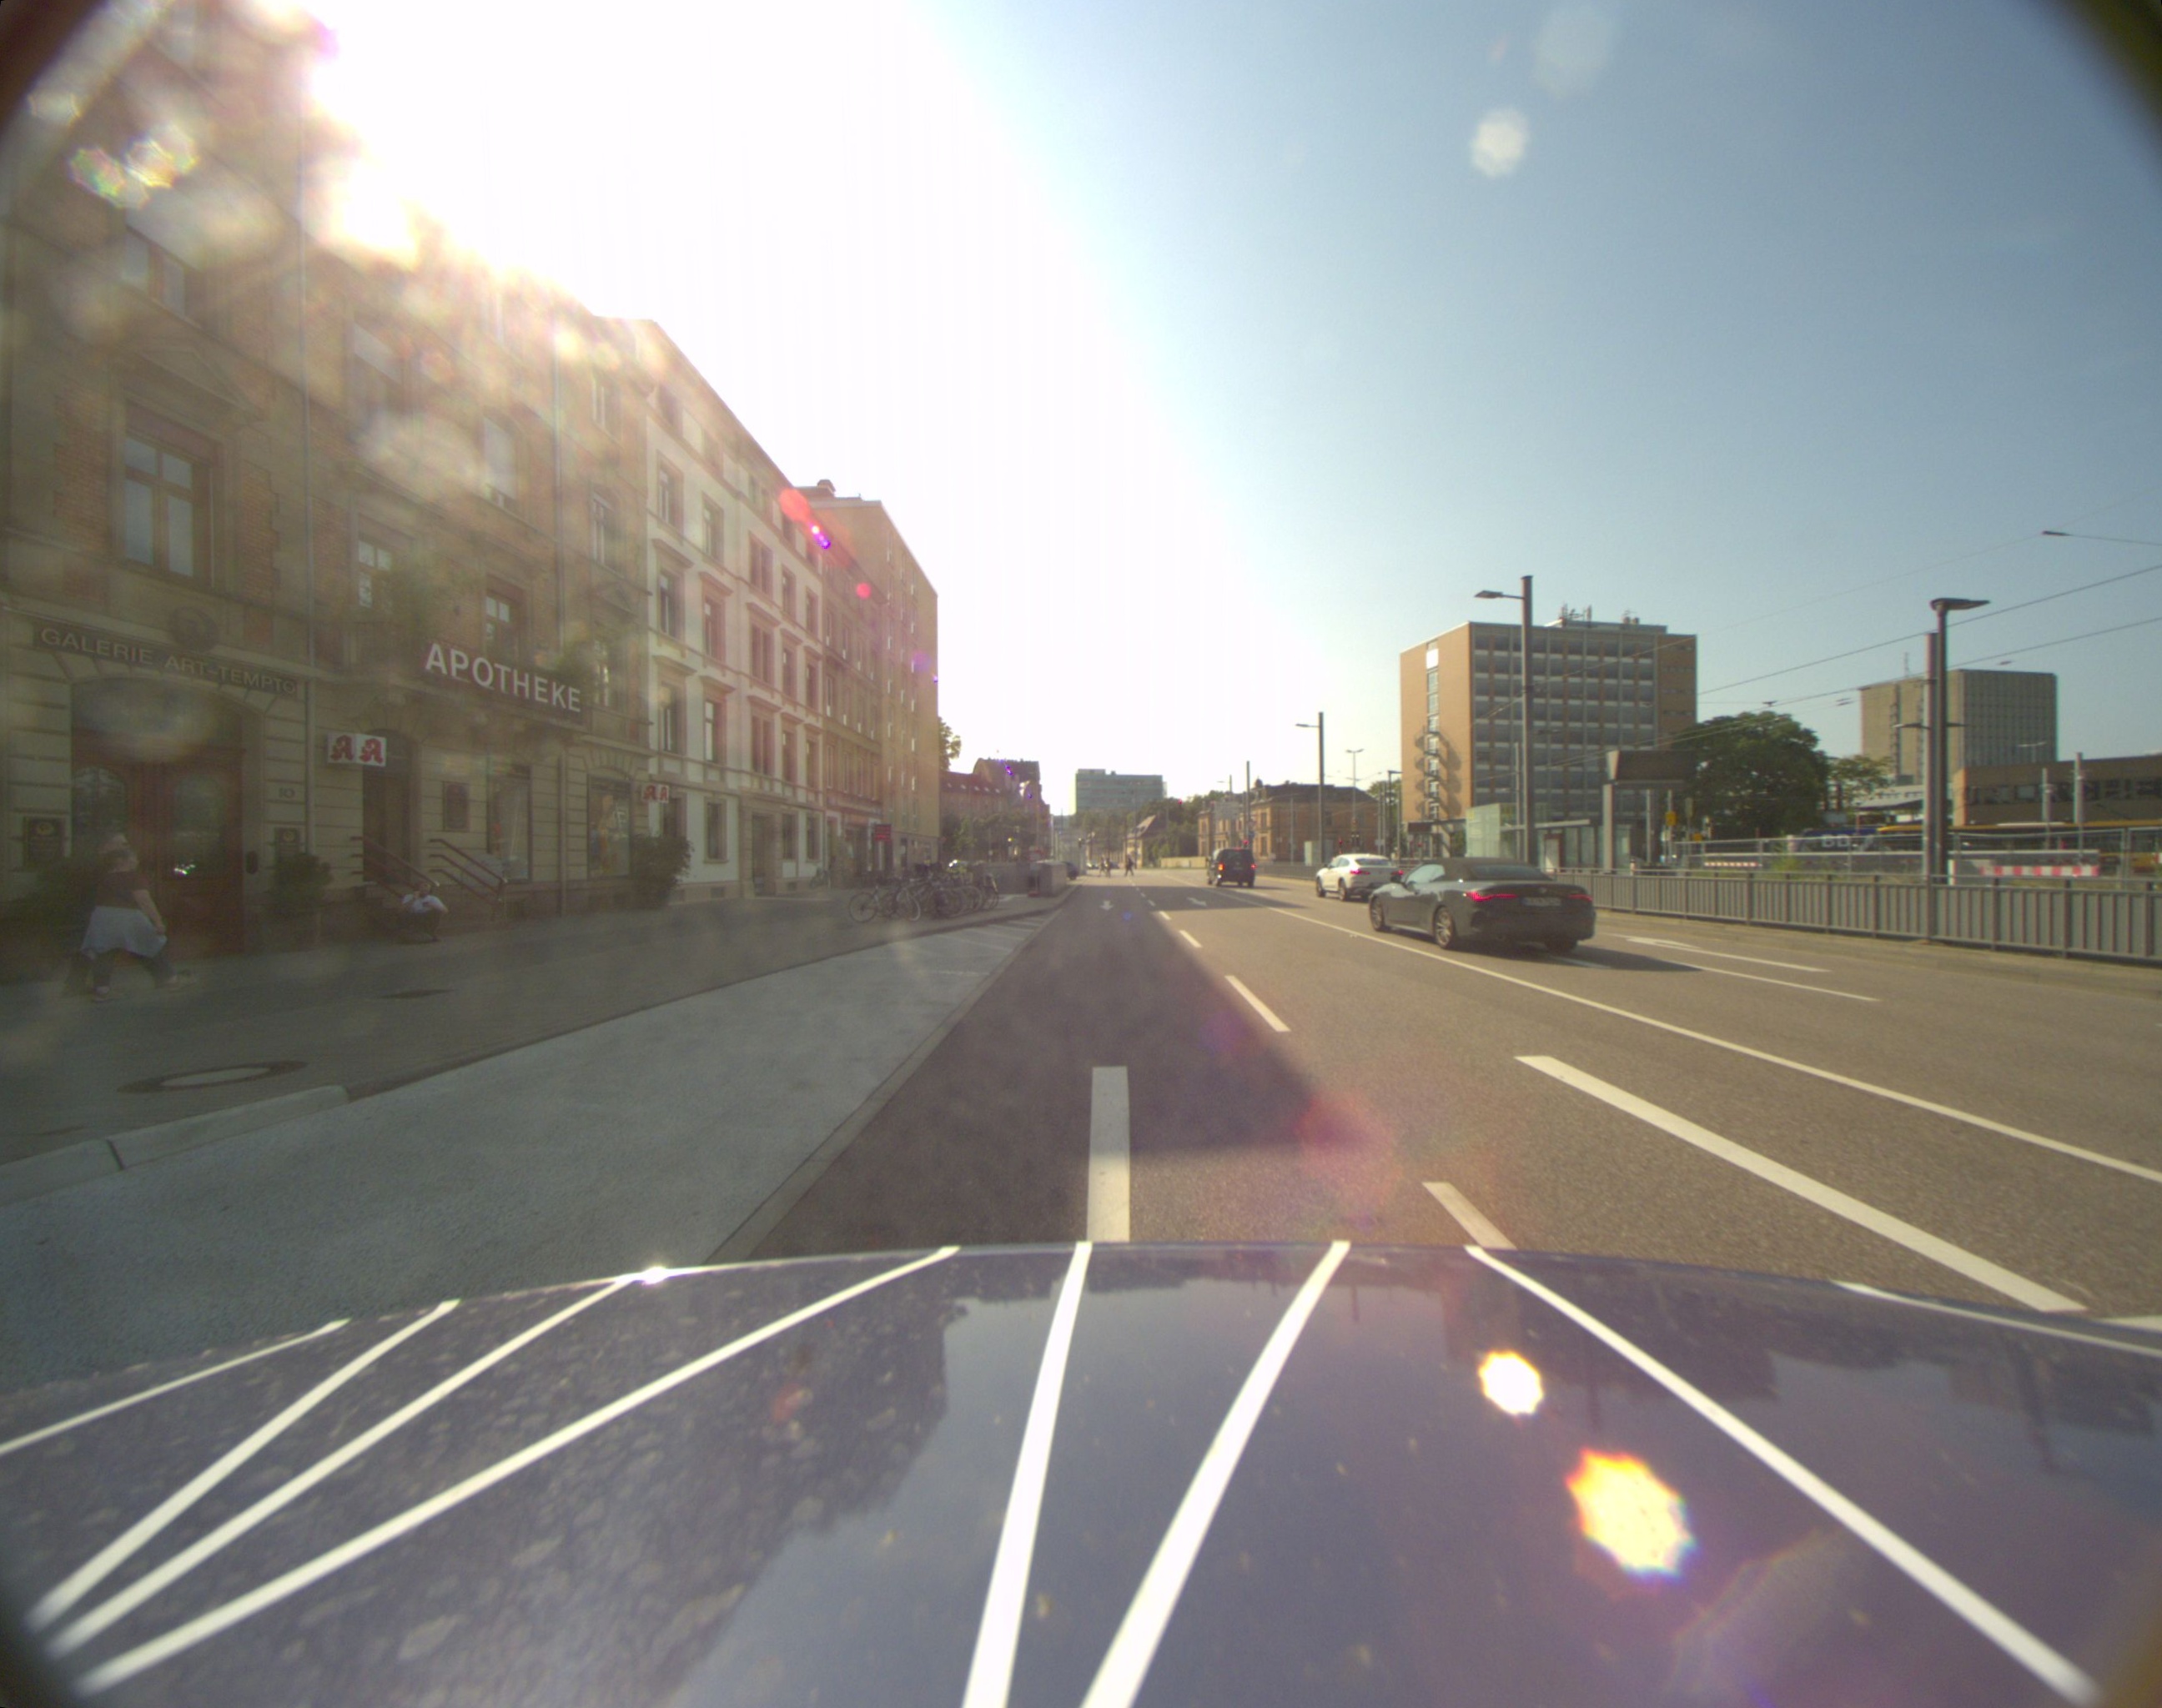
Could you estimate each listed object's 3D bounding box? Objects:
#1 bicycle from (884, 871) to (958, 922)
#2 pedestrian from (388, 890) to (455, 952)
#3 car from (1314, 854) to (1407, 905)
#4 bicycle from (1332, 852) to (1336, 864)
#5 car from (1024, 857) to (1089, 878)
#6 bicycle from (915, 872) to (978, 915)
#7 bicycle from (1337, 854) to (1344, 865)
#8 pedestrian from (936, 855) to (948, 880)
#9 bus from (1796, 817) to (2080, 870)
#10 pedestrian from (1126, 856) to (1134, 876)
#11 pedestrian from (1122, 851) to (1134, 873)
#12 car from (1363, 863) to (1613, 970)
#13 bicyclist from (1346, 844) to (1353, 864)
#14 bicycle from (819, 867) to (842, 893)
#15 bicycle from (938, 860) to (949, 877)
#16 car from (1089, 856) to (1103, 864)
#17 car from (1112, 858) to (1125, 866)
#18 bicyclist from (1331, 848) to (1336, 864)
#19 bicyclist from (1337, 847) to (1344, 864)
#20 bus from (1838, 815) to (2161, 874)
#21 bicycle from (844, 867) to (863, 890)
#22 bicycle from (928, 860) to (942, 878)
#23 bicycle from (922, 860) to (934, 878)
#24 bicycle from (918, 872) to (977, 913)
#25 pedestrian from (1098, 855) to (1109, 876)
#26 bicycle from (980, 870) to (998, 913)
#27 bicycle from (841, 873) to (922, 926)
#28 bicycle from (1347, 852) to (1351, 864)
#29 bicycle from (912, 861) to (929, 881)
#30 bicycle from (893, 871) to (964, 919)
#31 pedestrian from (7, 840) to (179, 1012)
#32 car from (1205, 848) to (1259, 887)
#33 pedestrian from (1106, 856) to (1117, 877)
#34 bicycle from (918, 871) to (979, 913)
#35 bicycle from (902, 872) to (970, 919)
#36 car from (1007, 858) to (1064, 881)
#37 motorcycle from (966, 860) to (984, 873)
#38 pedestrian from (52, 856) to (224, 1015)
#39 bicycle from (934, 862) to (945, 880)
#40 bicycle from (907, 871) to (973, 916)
[{"bbox_3d":[-3.702,0.982,17.643,1.637,1.142,0.385,0,1,-2],"label":"bicycle"},{"bbox_3d":[-11.104,1.116,12.805,0.612,0.976,0.637,0,1,22],"label":"pedestrian"},{"bbox_3d":[9.684,0.812,26.714,1.717,1.602,4.505,1,0,2],"label":"car"},{"bbox_3d":[25.422,0.407,76.404,0.311,1.158,1.501,-1,0,18],"label":"bicycle"},{"bbox_3d":[-1.731,0.932,54.655,4.418,1.415,1.843,-1,1,-39],"label":"car"},{"bbox_3d":[-3.611,1.059,20.468,1.637,1.142,0.385,0,1,-2],"label":"bicycle"},{"bbox_3d":[25.129,0.516,73.600,0.402,1.103,1.748,0,0,13],"label":"bicycle"},{"bbox_3d":[-8.988,0.869,49.219,0.610,1.619,0.737,0,1,3],"label":"pedestrian"},{"bbox_3d":[60.563,-0.629,54.590,3.232,3.399,13.278,-1,0,-44],"label":"bus"},{"bbox_3d":[3.967,0.963,61.496,0.634,1.588,0.468,2,1,1],"label":"pedestrian"},{"bbox_3d":[4.045,0.682,65.331,0.834,1.778,0.729,2,1,10],"label":"pedestrian"},{"bbox_3d":[6.177,0.849,12.240,1.717,1.323,4.521,1,0,2],"label":"car"},{"bbox_3d":[26.881,0.003,76.157,0.580,1.963,0.809,-1,0,17],"label":"bicyclist"},{"bbox_3d":[-11.523,1.180,34.985,0.384,1.127,1.720,0,0,3],"label":"bicycle"},{"bbox_3d":[-10.584,1.129,58.461,0.470,1.254,1.637,0,0,2],"label":"bicycle"},{"bbox_3d":[2.704,1.092,137.284,1.927,1.368,3.998,0,0,-6],"label":"car"},{"bbox_3d":[6.605,1.337,133.662,1.693,1.319,3.998,0,0,-6],"label":"car"},{"bbox_3d":[25.380,0.181,76.355,0.511,1.620,0.809,-1,0,17],"label":"bicyclist"},{"bbox_3d":[25.144,0.106,73.634,0.588,1.647,0.791,0,1,13],"label":"bicyclist"},{"bbox_3d":[54.490,-0.482,45.245,3.232,3.160,13.278,-1,0,-44],"label":"bus"},{"bbox_3d":[-11.534,1.216,38.556,0.384,1.127,1.720,0,0,3],"label":"bicycle"},{"bbox_3d":[-10.627,1.059,55.260,0.604,1.254,1.849,0,0,2],"label":"bicycle"},{"bbox_3d":[-10.669,1.023,52.921,0.604,1.254,1.996,0,0,-6],"label":"bicycle"},{"bbox_3d":[-3.823,1.093,21.813,1.637,1.142,0.385,0,1,-2],"label":"bicycle"},{"bbox_3d":[1.851,0.921,62.581,0.816,1.683,0.651,2,1,3],"label":"pedestrian"},{"bbox_3d":[-2.665,1.067,22.002,0.408,1.142,1.655,0,0,-3],"label":"bicycle"},{"bbox_3d":[-4.453,1.013,17.023,1.636,1.142,0.602,0,1,4],"label":"bicycle"},{"bbox_3d":[26.881,0.395,76.199,0.376,1.158,1.862,-1,0,18],"label":"bicycle"},{"bbox_3d":[-10.614,1.107,50.227,0.604,1.254,1.998,0,0,2],"label":"bicycle"},{"bbox_3d":[-3.675,0.989,18.417,1.637,1.142,0.385,0,1,-2],"label":"bicycle"},{"bbox_3d":[-10.748,0.748,8.304,0.721,1.777,0.856,0,1,3],"label":"pedestrian"},{"bbox_3d":[7.768,0.645,39.464,1.998,1.893,4.716,1,0,2],"label":"car"},{"bbox_3d":[2.364,0.979,59.322,0.809,1.539,0.548,2,1,4],"label":"pedestrian"},{"bbox_3d":[-3.711,1.056,21.325,1.637,1.142,0.385,0,1,-2],"label":"bicycle"},{"bbox_3d":[-3.617,1.041,19.027,1.637,1.142,0.385,0,1,-2],"label":"bicycle"},{"bbox_3d":[-3.017,1.023,50.787,3.535,1.455,1.618,-1,1,-39],"label":"car"},{"bbox_3d":[-10.036,1.174,72.217,0.704,1.140,2.304,0,0,18],"label":"motorcycle"},{"bbox_3d":[-9.985,0.823,8.082,0.721,1.601,0.856,0,1,3],"label":"pedestrian"},{"bbox_3d":[-9.921,1.175,53.354,0.604,1.254,1.996,0,0,-6],"label":"bicycle"},{"bbox_3d":[-3.661,1.030,19.774,1.637,1.142,0.385,0,1,-2],"label":"bicycle"}]
